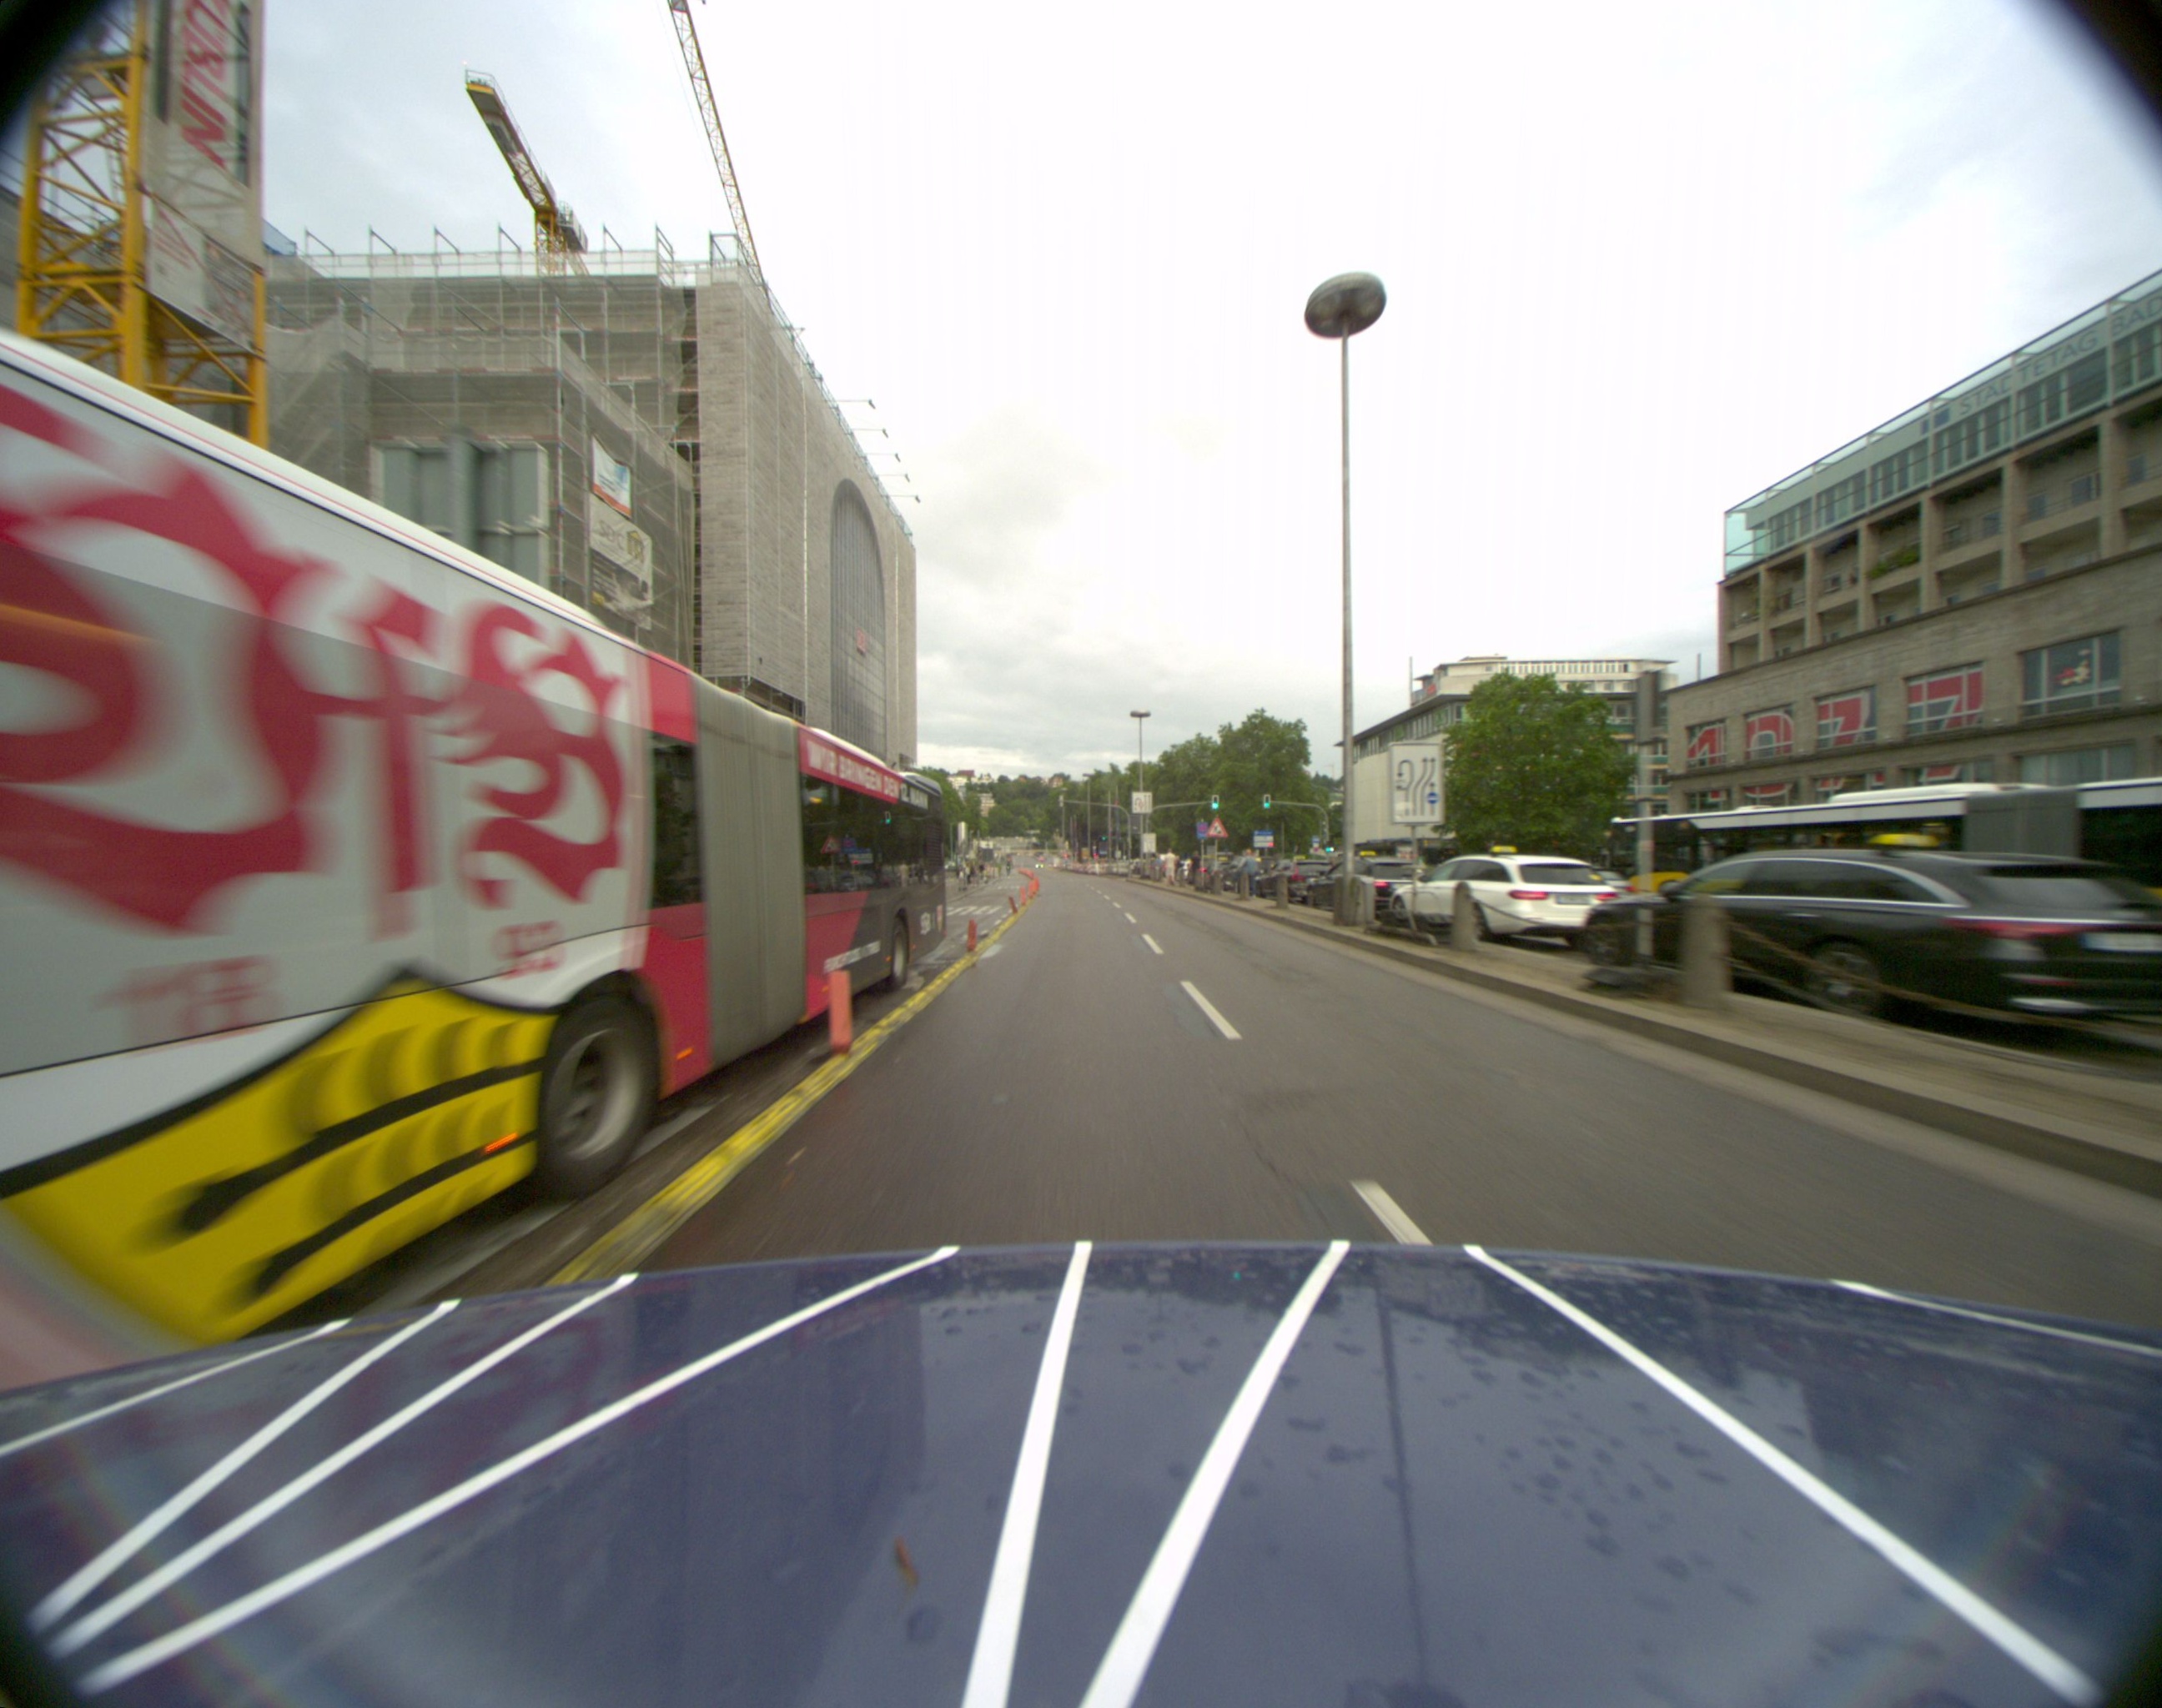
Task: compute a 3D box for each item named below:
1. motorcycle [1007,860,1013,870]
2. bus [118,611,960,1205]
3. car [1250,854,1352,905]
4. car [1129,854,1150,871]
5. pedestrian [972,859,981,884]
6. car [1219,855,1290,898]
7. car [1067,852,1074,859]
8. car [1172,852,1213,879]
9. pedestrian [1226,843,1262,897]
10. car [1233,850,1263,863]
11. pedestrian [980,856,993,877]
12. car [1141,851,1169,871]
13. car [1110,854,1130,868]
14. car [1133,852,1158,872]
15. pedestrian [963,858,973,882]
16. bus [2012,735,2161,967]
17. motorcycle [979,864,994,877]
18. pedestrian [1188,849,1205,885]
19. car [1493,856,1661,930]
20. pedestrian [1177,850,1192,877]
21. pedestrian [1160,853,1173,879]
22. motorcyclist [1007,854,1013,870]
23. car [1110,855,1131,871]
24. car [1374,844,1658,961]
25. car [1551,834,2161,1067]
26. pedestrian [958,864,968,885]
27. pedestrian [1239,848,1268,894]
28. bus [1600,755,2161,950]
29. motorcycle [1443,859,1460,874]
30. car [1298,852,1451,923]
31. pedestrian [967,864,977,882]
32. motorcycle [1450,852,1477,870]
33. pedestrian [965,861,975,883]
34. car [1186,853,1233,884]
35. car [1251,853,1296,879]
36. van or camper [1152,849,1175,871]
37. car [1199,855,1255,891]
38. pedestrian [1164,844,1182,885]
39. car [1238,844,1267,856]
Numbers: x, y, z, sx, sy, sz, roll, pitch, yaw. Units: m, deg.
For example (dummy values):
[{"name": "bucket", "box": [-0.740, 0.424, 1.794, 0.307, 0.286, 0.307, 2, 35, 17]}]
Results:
[{"name": "motorcycle", "box": [-8.984, 1.394, 96.415, 0.730, 1.221, 2.160, 0, -1, -7]}, {"name": "bus", "box": [-3.595, 0.280, 8.568, 2.762, 3.051, 9.079, -2, 0, 1]}, {"name": "car", "box": [7.411, 0.795, 26.170, 1.934, 1.567, 5.260, 0, 0, 0]}, {"name": "car", "box": [6.288, 0.908, 82.193, 1.789, 1.712, 4.482, -1, -1, -2]}, {"name": "pedestrian", "box": [-7.593, 1.264, 55.174, 0.560, 1.749, 0.751, 2, 0, -13]}, {"name": "car", "box": [7.328, 0.905, 32.629, 1.934, 1.680, 4.681, 0, 0, 0]}, {"name": "car", "box": [-2.452, 0.390, 179.111, 1.682, 1.533, 3.174, 0, -1, 0]}, {"name": "car", "box": [7.254, 0.736, 49.862, 2.020, 1.611, 4.842, -1, 0, 0]}, {"name": "pedestrian", "box": [5.482, 0.537, 25.609, 1.053, 1.758, 0.616, -1, 1, -1]}, {"name": "car", "box": [24.633, 0.406, 112.291, 3.735, 1.534, 1.855, -5, 1, 37]}, {"name": "pedestrian", "box": [-7.552, 1.001, 60.726, 0.582, 1.730, 0.820, -2, 0, -43]}, {"name": "car", "box": [6.778, 0.683, 69.863, 1.908, 1.689, 4.499, -2, -1, -2]}, {"name": "car", "box": [4.919, 0.908, 96.177, 1.895, 1.692, 4.421, -2, -1, -4]}, {"name": "car", "box": [6.405, 0.795, 75.872, 1.908, 1.887, 4.522, -2, 0, -2]}, {"name": "pedestrian", "box": [-8.626, 1.212, 57.876, 0.559, 1.741, 0.711, 2, 0, 1]}, {"name": "bus", "box": [17.426, -0.079, 7.774, 2.884, 3.439, 10.574, -1, 0, 1]}, {"name": "motorcycle", "box": [-7.555, 1.356, 60.739, 0.587, 1.015, 1.236, -1, 0, -43]}, {"name": "pedestrian", "box": [5.703, 0.617, 37.537, 0.700, 1.744, 0.711, -1, 0, 0]}, {"name": "car", "box": [13.923, 1.030, 21.675, 1.999, 1.818, 4.119, -2, 0, -1]}, {"name": "pedestrian", "box": [6.838, 0.612, 50.367, 0.784, 1.765, 0.606, 2, 0, -12]}, {"name": "pedestrian", "box": [5.600, 0.780, 49.702, 0.653, 1.701, 0.593, -2, 0, -2]}, {"name": "motorcyclist", "box": [-8.995, 0.992, 96.437, 0.726, 2.024, 0.587, 0, -1, -7]}, {"name": "car", "box": [4.555, 1.074, 88.951, 1.999, 1.806, 4.810, -1, -1, -2]}, {"name": "car", "box": [7.214, 0.685, 13.450, 1.981, 1.649, 5.192, 0, 0, -1]}, {"name": "car", "box": [7.303, 0.647, 7.660, 1.935, 1.567, 5.051, 0, 0, -1]}, {"name": "pedestrian", "box": [-9.306, 1.591, 59.930, 0.565, 1.641, 0.615, 2, 0, 5]}, {"name": "pedestrian", "box": [6.111, 0.595, 26.931, 0.724, 1.597, 0.996, -2, 0, 0]}, {"name": "bus", "box": [17.609, -0.011, 18.443, 2.884, 3.356, 10.574, 0, 0, 1]}, {"name": "motorcycle", "box": [25.526, 0.866, 52.399, 0.477, 1.040, 1.624, -2, 0, 5]}, {"name": "car", "box": [7.309, 0.756, 19.563, 1.935, 1.567, 5.011, 0, 0, -1]}, {"name": "pedestrian", "box": [-8.550, 1.478, 59.611, 0.559, 1.441, 0.711, 2, 0, 1]}, {"name": "motorcycle", "box": [23.908, 0.460, 47.495, 1.443, 1.051, 0.602, -2, 0, -10]}, {"name": "pedestrian", "box": [-8.236, 1.331, 56.504, 0.559, 1.631, 0.752, 2, 0, 1]}, {"name": "car", "box": [7.441, 0.780, 44.444, 1.934, 1.680, 4.681, 0, 0, 0]}, {"name": "car", "box": [13.356, 0.804, 53.065, 1.934, 1.680, 4.681, 0, 0, 0]}, {"name": "van or camper", "box": [10.143, 0.729, 93.480, 1.999, 2.499, 5.369, 2, 0, -2]}, {"name": "car", "box": [7.401, 0.926, 38.954, 1.934, 1.680, 4.681, 0, 0, 0]}, {"name": "pedestrian", "box": [4.611, 0.522, 38.198, 0.724, 1.996, 0.772, -2, 0, 0]}, {"name": "car", "box": [31.403, -0.772, 139.497, 4.830, 2.001, 2.036, -2, -1, 2]}]
